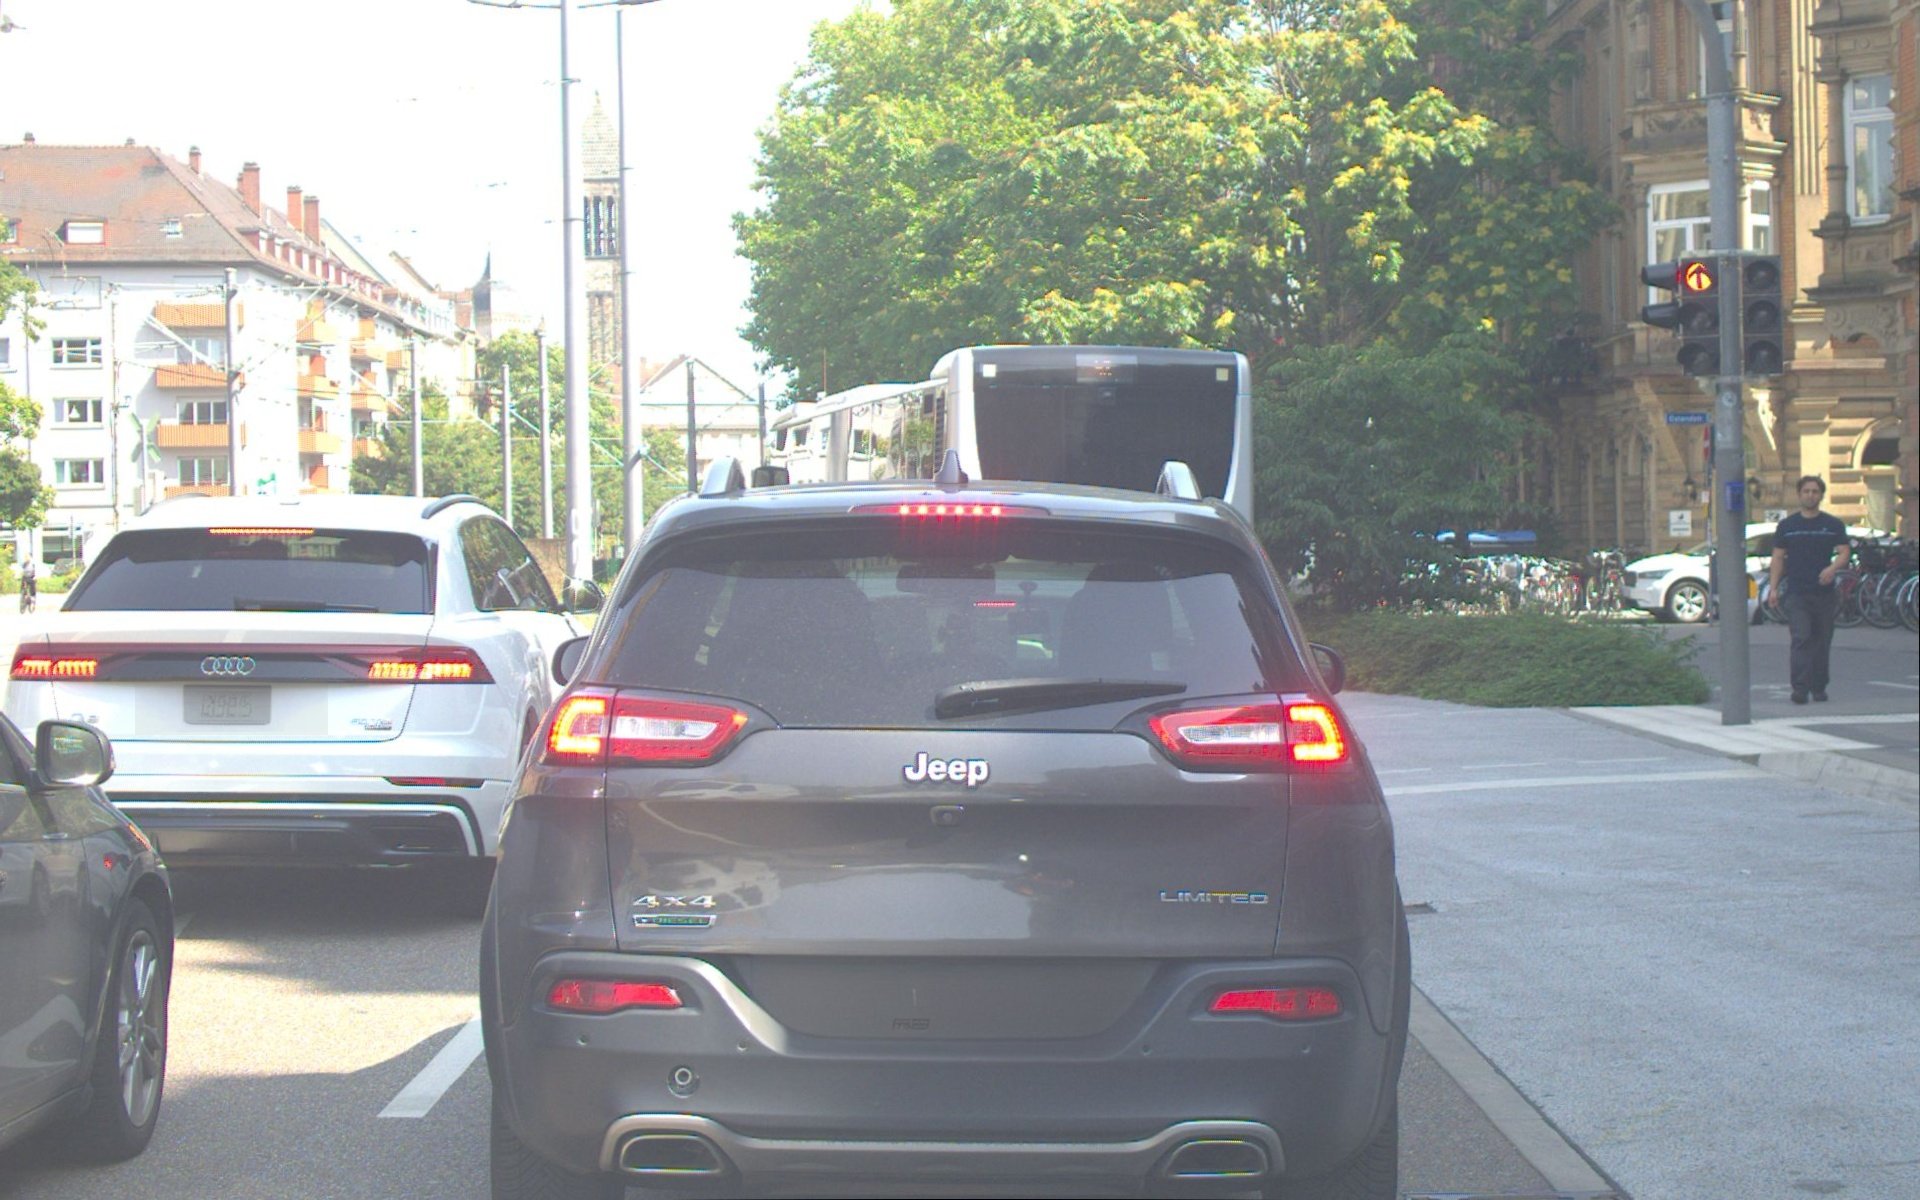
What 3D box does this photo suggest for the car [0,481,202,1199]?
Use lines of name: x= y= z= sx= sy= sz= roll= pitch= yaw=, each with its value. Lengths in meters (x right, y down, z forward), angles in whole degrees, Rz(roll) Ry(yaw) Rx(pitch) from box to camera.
car: x=-2.816 y=0.563 z=6.715 sx=1.747 sy=1.609 sz=4.309 roll=0 pitch=1 yaw=0

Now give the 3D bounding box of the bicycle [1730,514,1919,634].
bicycle: x=10.738 y=-0.321 z=40.771 sx=2.993 sy=1.366 sz=0.871 roll=-1 pitch=1 yaw=-1

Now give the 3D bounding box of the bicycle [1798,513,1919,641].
bicycle: x=10.878 y=-0.279 z=38.004 sx=2.993 sy=1.366 sz=0.871 roll=-1 pitch=1 yaw=-1

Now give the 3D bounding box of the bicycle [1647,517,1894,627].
bicycle: x=10.626 y=-0.378 z=45.137 sx=3.003 sy=1.368 sz=0.947 roll=-1 pitch=1 yaw=-1

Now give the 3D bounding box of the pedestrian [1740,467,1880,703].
pedestrian: x=6.474 y=-0.118 z=26.219 sx=0.899 sy=1.735 sz=0.768 roll=-2 pitch=1 yaw=8

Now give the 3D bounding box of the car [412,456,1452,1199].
car: x=-0.032 y=0.529 z=8.245 sx=1.832 sy=1.646 sz=4.308 roll=0 pitch=1 yaw=1

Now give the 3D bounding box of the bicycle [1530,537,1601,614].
bicycle: x=10.285 y=-0.430 z=58.468 sx=0.763 sy=1.249 sz=3.014 roll=-1 pitch=1 yaw=2

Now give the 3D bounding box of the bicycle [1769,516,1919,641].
bicycle: x=10.775 y=-0.268 z=38.911 sx=2.993 sy=1.366 sz=0.871 roll=-1 pitch=1 yaw=-1

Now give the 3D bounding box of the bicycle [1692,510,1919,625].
bicycle: x=10.727 y=-0.410 z=42.808 sx=3.003 sy=1.368 sz=0.947 roll=-1 pitch=1 yaw=-1

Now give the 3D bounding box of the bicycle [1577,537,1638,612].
bicycle: x=11.084 y=-0.454 z=58.902 sx=0.658 sy=1.245 sz=2.412 roll=-1 pitch=1 yaw=2

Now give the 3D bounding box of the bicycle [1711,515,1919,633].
bicycle: x=10.728 y=-0.330 z=41.715 sx=3.003 sy=1.368 sz=0.947 roll=-1 pitch=1 yaw=-1

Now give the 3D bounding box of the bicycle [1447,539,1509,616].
bicycle: x=8.796 y=-0.402 z=58.456 sx=0.649 sy=1.249 sz=3.014 roll=-1 pitch=1 yaw=2

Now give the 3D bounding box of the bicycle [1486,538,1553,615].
bicycle: x=9.496 y=-0.414 z=58.454 sx=0.732 sy=1.249 sz=3.014 roll=-1 pitch=1 yaw=2

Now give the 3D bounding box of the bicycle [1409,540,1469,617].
bicycle: x=8.135 y=-0.387 z=58.481 sx=0.649 sy=1.249 sz=3.014 roll=-1 pitch=1 yaw=2

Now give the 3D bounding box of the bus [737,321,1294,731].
bus: x=0.081 y=-0.632 z=33.054 sx=2.742 sy=3.096 sz=11.959 roll=-3 pitch=1 yaw=-11

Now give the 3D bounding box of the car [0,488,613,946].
car: x=-2.617 y=0.371 z=14.523 sx=1.902 sy=1.646 sz=4.309 roll=0 pitch=1 yaw=0

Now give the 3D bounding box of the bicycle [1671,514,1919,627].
bicycle: x=10.678 y=-0.379 z=43.820 sx=3.003 sy=1.368 sz=0.947 roll=-1 pitch=1 yaw=-1

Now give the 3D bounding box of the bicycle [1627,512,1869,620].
bicycle: x=10.573 y=-0.461 z=46.178 sx=3.003 sy=1.368 sz=0.947 roll=-1 pitch=1 yaw=-1

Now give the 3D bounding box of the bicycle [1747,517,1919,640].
bicycle: x=10.726 y=-0.268 z=39.824 sx=2.993 sy=1.366 sz=0.871 roll=-1 pitch=1 yaw=-1

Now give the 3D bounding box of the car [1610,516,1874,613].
car: x=13.051 y=-0.610 z=57.482 sx=3.931 sy=1.515 sz=1.683 roll=-1 pitch=1 yaw=-7
